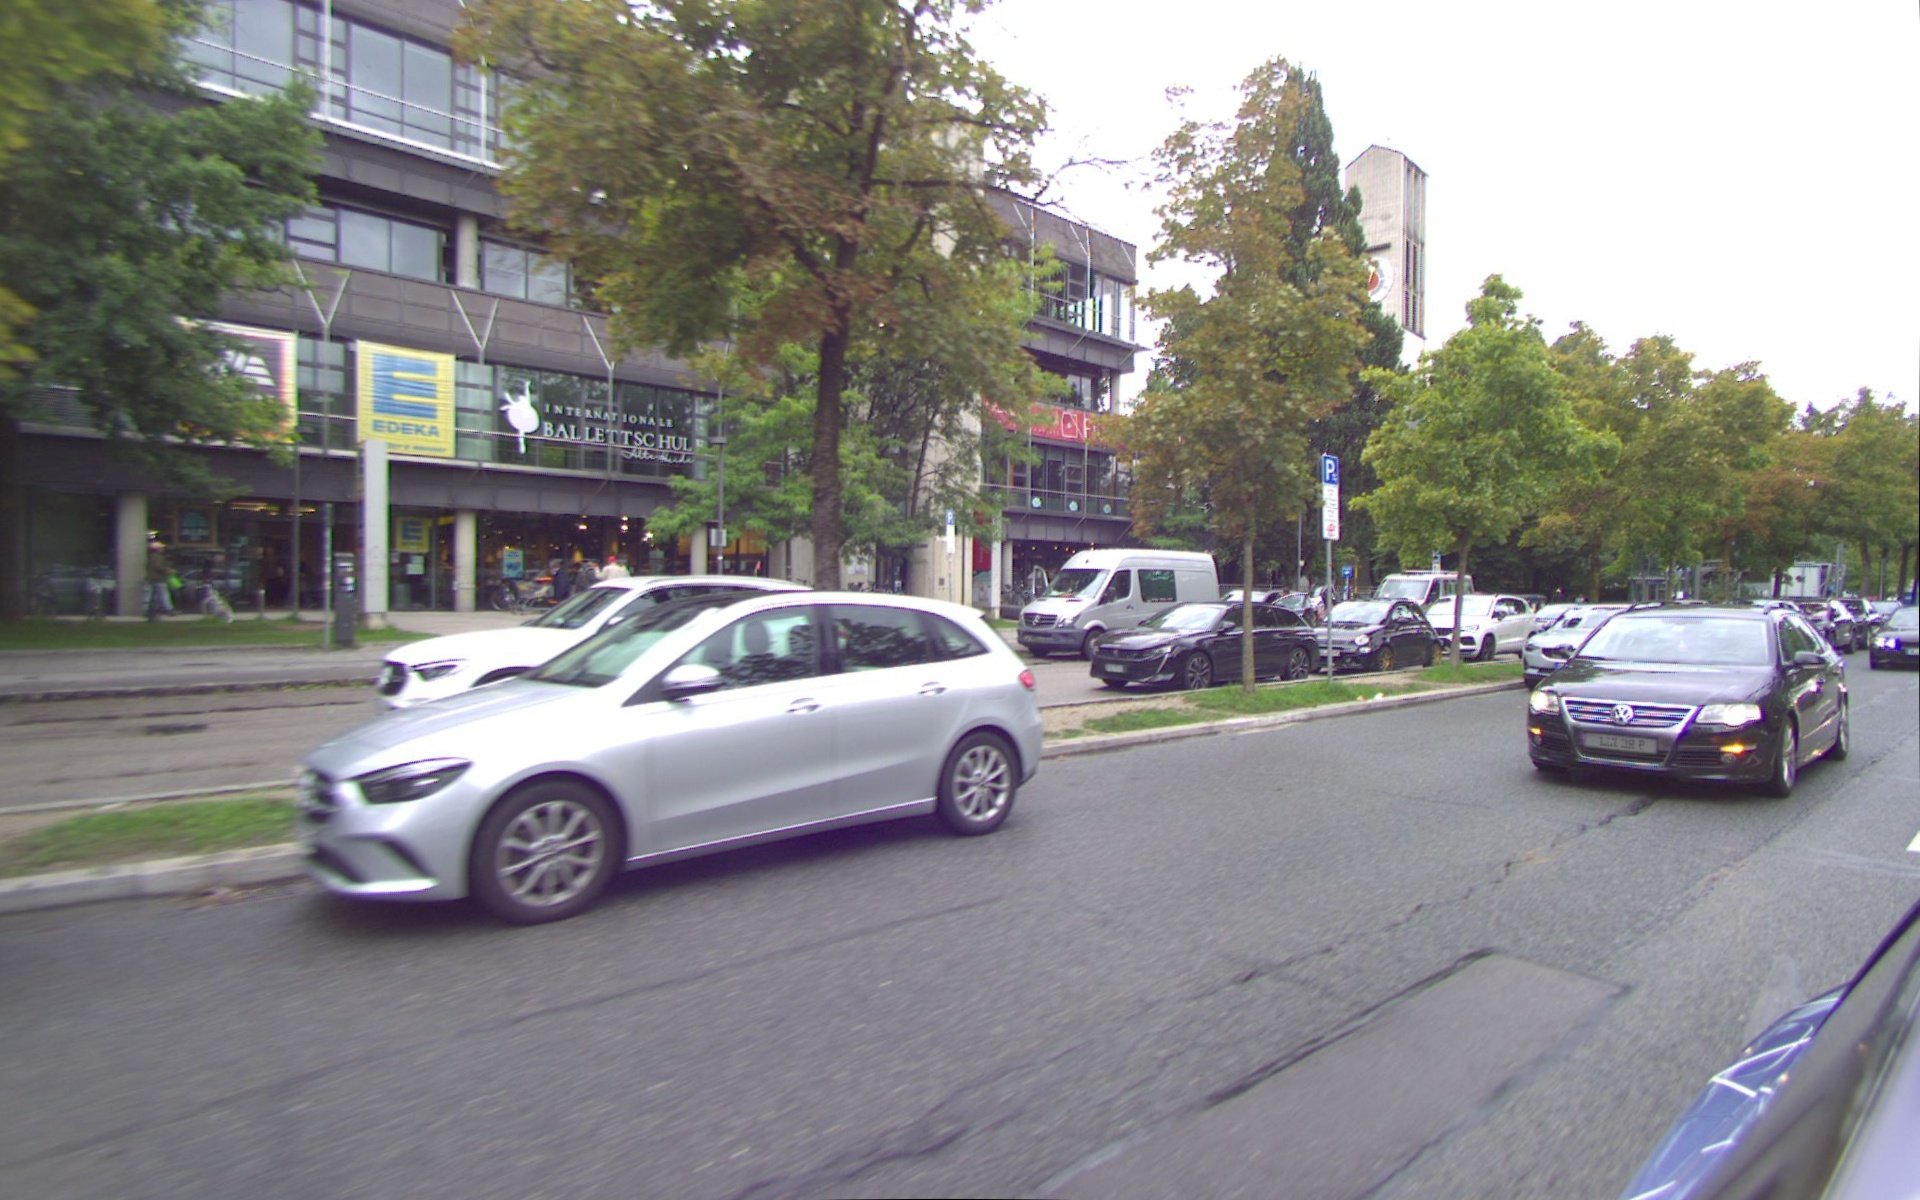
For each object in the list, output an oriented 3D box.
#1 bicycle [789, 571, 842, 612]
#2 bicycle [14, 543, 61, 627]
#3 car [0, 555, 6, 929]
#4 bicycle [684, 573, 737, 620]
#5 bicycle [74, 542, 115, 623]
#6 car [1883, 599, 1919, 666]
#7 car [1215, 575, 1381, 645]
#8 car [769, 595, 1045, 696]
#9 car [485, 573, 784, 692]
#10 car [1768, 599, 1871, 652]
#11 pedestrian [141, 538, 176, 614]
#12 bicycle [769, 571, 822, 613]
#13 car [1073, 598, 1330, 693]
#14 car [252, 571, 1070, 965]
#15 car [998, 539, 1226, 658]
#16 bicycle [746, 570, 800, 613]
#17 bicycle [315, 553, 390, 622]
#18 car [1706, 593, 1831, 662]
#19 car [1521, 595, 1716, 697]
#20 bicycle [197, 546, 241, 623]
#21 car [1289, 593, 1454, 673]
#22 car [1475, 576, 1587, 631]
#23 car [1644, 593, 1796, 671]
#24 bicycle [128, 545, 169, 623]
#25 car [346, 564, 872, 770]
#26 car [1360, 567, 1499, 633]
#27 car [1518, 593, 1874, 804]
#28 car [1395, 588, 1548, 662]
[{"bbox_3d":[-4.796,-0.295,33.379,0.638,1.318,2.313,0,1,-39],"label":"bicycle"},{"bbox_3d":[-19.213,-0.322,21.109,0.638,1.643,2.312,0,1,-40],"label":"bicycle"},{"bbox_3d":[-5.507,0.624,2.574,4.387,1.662,1.684,0,-2,-41],"label":"car"},{"bbox_3d":[-7.665,-0.125,31.000,0.638,1.365,2.313,0,1,-39],"label":"bicycle"},{"bbox_3d":[-18.529,-0.380,21.674,0.638,1.643,2.312,0,1,-40],"label":"bicycle"},{"bbox_3d":[22.243,0.682,22.763,4.386,1.431,1.761,0,0,-42],"label":"car"},{"bbox_3d":[9.847,0.234,29.273,5.087,1.834,2.267,0,1,-41],"label":"car"},{"bbox_3d":[-0.768,0.632,16.333,4.274,1.396,1.726,0,1,-39],"label":"car"},{"bbox_3d":[-5.183,0.427,16.507,4.270,1.654,1.861,0,2,-45],"label":"car"},{"bbox_3d":[24.613,0.683,28.953,4.029,1.379,1.733,0,0,-42],"label":"car"},{"bbox_3d":[-19.755,-0.598,24.939,0.656,1.827,0.729,0,3,-40],"label":"pedestrian"},{"bbox_3d":[-5.375,-0.285,32.887,0.638,1.318,2.313,0,1,-39],"label":"bicycle"},{"bbox_3d":[4.042,0.651,16.589,4.356,1.363,1.826,0,0,-39],"label":"car"},{"bbox_3d":[-1.483,0.675,6.044,4.386,1.542,1.685,0,-2,-40],"label":"car"},{"bbox_3d":[3.795,-0.068,24.511,5.755,2.560,2.267,0,1,-41],"label":"car"},{"bbox_3d":[-5.995,-0.277,32.328,0.664,1.318,2.313,0,1,-39],"label":"bicycle"},{"bbox_3d":[-15.015,-0.329,24.990,2.298,1.643,0.642,1,1,33],"label":"bicycle"},{"bbox_3d":[19.960,0.616,24.915,4.366,1.535,1.733,0,0,-42],"label":"car"},{"bbox_3d":[11.332,0.683,17.293,4.366,1.526,1.733,0,0,-42],"label":"car"},{"bbox_3d":[-16.767,-0.363,22.870,0.638,1.643,2.312,0,1,-40],"label":"bicycle"},{"bbox_3d":[8.217,0.599,20.110,3.386,1.451,1.719,0,0,-41],"label":"car"},{"bbox_3d":[23.882,0.114,42.259,5.755,2.130,2.267,0,1,-41],"label":"car"},{"bbox_3d":[15.803,0.600,20.961,4.366,1.451,1.733,0,0,-42],"label":"car"},{"bbox_3d":[-17.808,-0.359,22.199,0.638,1.643,2.312,0,1,-40],"label":"bicycle"},{"bbox_3d":[-3.277,0.521,10.300,1.821,1.611,4.800,-1,0,43],"label":"car"},{"bbox_3d":[16.648,-0.028,35.726,5.755,2.130,2.267,0,1,-41],"label":"car"},{"bbox_3d":[6.760,0.678,9.102,4.366,1.451,1.733,0,0,-42],"label":"car"},{"bbox_3d":[11.920,0.533,23.500,3.984,1.562,1.825,0,0,-41],"label":"car"}]
